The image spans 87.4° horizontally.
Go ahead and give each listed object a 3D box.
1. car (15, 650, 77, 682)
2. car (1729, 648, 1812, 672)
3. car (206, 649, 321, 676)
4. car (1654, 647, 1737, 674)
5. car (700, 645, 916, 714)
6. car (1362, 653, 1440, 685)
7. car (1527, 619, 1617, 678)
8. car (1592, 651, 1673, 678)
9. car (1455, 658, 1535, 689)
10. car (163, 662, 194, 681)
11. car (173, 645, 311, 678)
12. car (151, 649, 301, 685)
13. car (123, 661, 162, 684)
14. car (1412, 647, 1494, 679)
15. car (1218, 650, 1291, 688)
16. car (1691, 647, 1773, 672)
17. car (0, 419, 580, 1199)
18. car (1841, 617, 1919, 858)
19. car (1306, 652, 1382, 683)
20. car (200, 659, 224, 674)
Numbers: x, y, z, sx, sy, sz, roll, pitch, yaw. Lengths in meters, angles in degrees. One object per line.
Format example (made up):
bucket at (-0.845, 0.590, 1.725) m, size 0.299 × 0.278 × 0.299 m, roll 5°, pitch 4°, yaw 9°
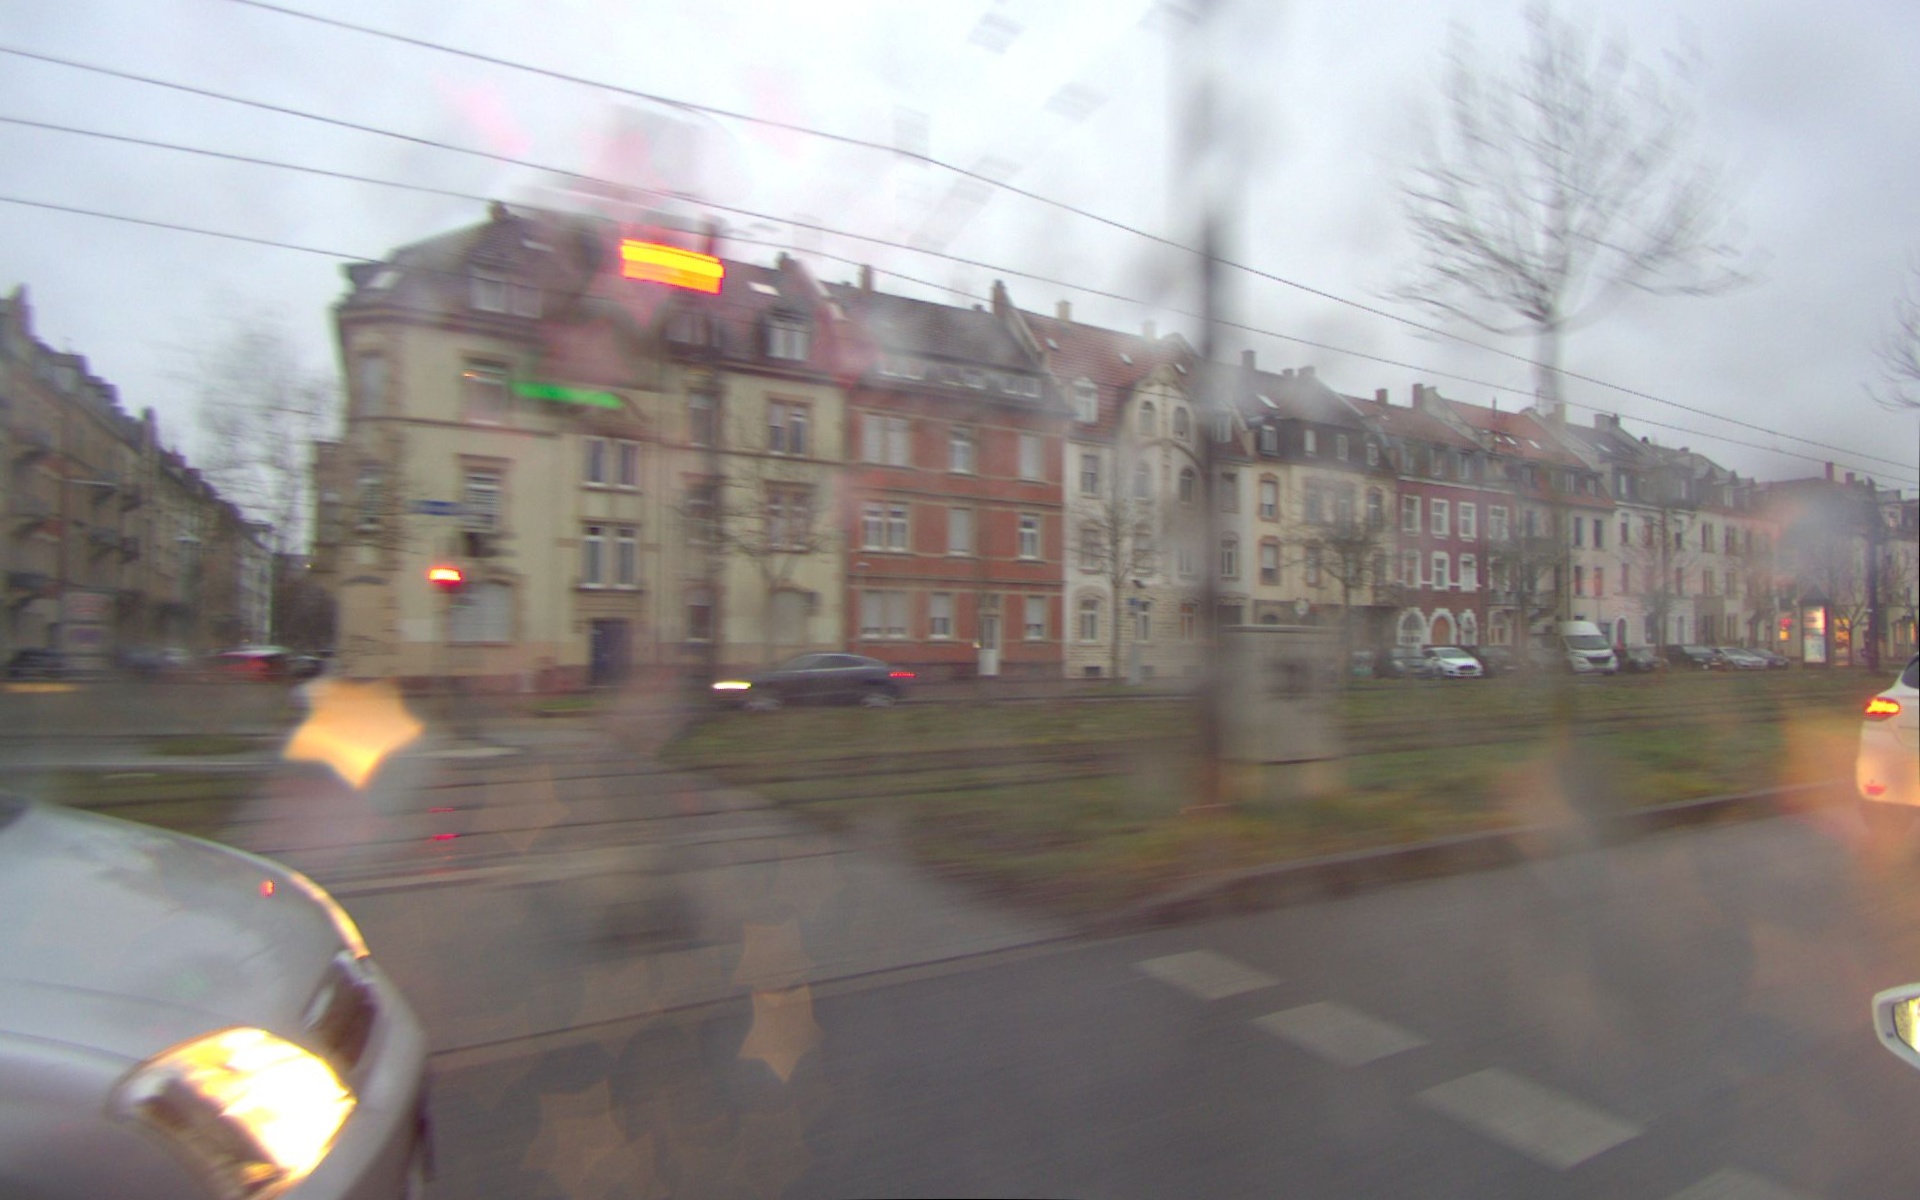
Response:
car at (-39.216, 2.810, 43.157) m, size 1.316 × 1.305 × 2.877 m, roll 2°, pitch -4°, yaw -30°
car at (47.827, 3.523, 59.369) m, size 1.959 × 1.349 × 4.004 m, roll 0°, pitch -3°, yaw 7°
car at (-32.285, 2.889, 46.663) m, size 3.925 × 1.227 × 1.869 m, roll 0°, pitch -3°, yaw -7°
car at (41.661, 3.417, 56.988) m, size 1.960 × 1.505 × 4.003 m, roll 0°, pitch -3°, yaw 4°
car at (-3.506, 1.807, 23.393) m, size 4.644 × 1.472 × 1.856 m, roll 2°, pitch -4°, yaw -30°
car at (19.087, 2.965, 43.687) m, size 1.959 × 1.349 × 4.003 m, roll 0°, pitch -3°, yaw 6°
car at (30.781, 2.451, 50.740) m, size 1.959 × 2.834 × 5.872 m, roll 0°, pitch -3°, yaw 12°
car at (35.783, 3.399, 53.572) m, size 1.959 × 1.349 × 4.004 m, roll 0°, pitch -3°, yaw 7°
car at (24.817, 3.375, 46.739) m, size 1.959 × 1.349 × 4.004 m, roll 0°, pitch -3°, yaw 7°
car at (-55.976, 5.120, 71.988) m, size 1.316 × 1.305 × 2.877 m, roll 2°, pitch -4°, yaw -30°
car at (-28.090, 2.406, 39.409) m, size 3.925 × 1.227 × 1.869 m, roll 0°, pitch -3°, yaw -7°
car at (-26.502, 2.408, 36.377) m, size 3.925 × 1.227 × 1.869 m, roll 0°, pitch -3°, yaw -7°
car at (-49.152, 4.354, 60.416) m, size 1.316 × 1.305 × 2.877 m, roll 2°, pitch -4°, yaw -30°
car at (22.081, 2.810, 45.182) m, size 1.960 × 1.349 × 4.003 m, roll 0°, pitch -3°, yaw 5°
car at (11.010, 2.548, 37.800) m, size 1.959 × 1.349 × 4.003 m, roll 0°, pitch -3°, yaw 6°
car at (44.561, 3.412, 58.075) m, size 1.959 × 1.349 × 4.004 m, roll 0°, pitch -3°, yaw 7°
car at (-2.736, 0.578, 1.217) m, size 4.006 × 1.621 × 1.800 m, roll 2°, pitch -2°, yaw -31°
car at (8.414, 0.977, 7.450) m, size 4.006 × 1.621 × 1.664 m, roll 2°, pitch -2°, yaw -30°
car at (15.171, 2.643, 39.850) m, size 1.959 × 1.184 × 4.004 m, roll 0°, pitch -3°, yaw 8°
car at (-64.741, 5.726, 86.974) m, size 1.316 × 1.305 × 2.877 m, roll 2°, pitch -4°, yaw -30°
